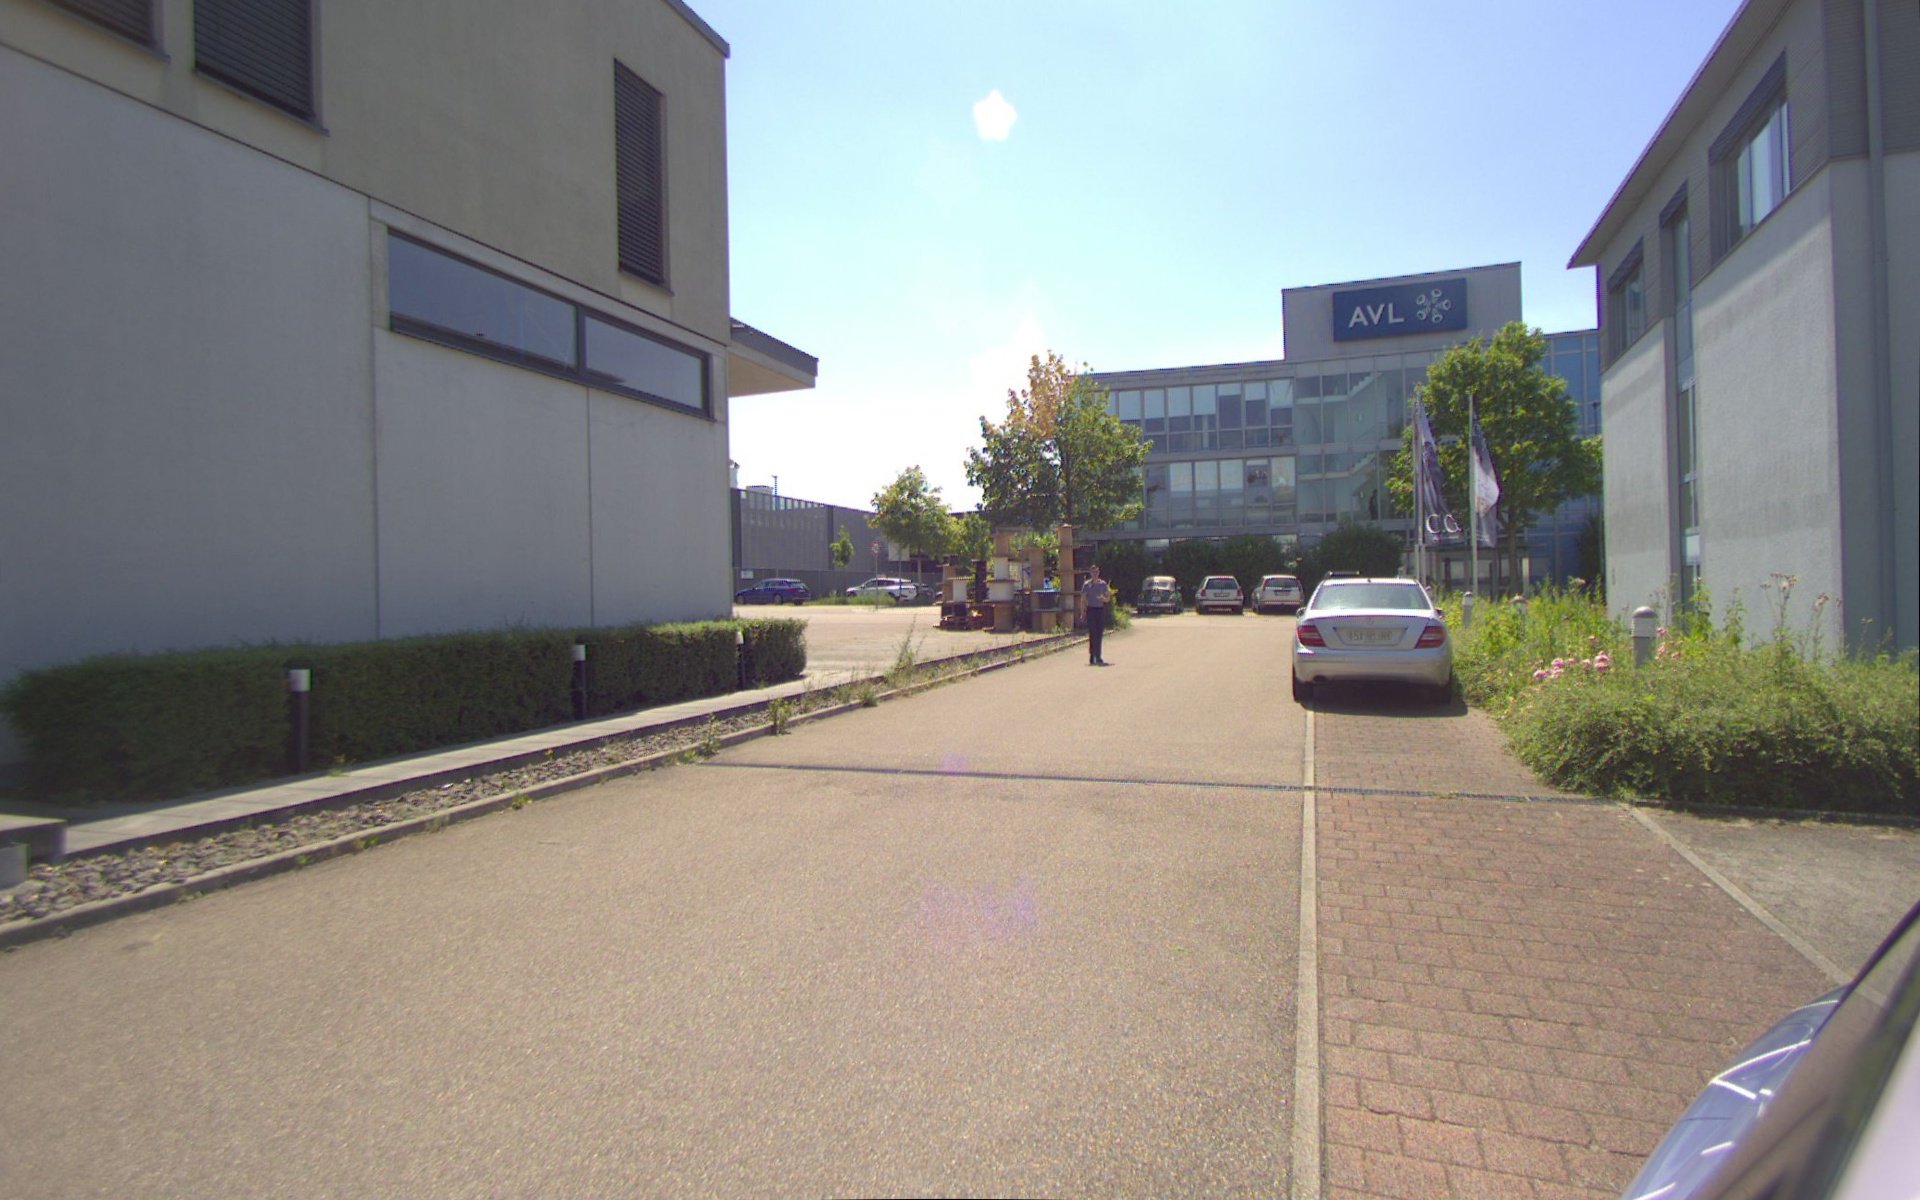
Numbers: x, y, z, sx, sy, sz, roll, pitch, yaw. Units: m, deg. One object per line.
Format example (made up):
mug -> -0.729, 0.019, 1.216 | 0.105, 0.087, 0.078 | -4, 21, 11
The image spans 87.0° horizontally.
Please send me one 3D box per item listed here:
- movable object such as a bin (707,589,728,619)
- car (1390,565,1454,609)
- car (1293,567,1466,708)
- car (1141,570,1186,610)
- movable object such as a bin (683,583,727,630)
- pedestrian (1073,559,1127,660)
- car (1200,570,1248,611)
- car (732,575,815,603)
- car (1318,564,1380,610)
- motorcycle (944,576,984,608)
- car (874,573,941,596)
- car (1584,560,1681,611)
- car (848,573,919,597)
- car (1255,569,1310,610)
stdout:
movable object such as a bin -> -7.860, 0.125, 32.831 | 0.574, 0.929, 0.548 | -1, 2, -5
car -> 17.085, -0.518, 37.561 | 1.709, 1.503, 4.371 | -1, 1, 19
car -> 5.255, 0.332, 12.803 | 1.714, 1.475, 4.118 | 0, 2, 22
car -> 8.099, -0.436, 40.170 | 1.501, 1.463, 3.404 | 0, 2, 15
movable object such as a bin -> -7.090, 0.174, 28.168 | 0.868, 1.265, 0.794 | 0, 2, 28
pedestrian -> 2.559, 0.155, 18.565 | 0.793, 1.790, 0.769 | -1, 2, -3
car -> 10.285, -0.416, 39.581 | 1.618, 1.470, 3.589 | 0, 2, 12
car -> -10.282, -0.591, 55.695 | 4.413, 1.427, 1.838 | 0, 1, 33
car -> 14.685, -0.542, 38.372 | 1.914, 1.622, 3.839 | 0, 2, 17
motorcycle -> 0.192, -0.348, 42.241 | 0.862, 1.275, 2.821 | 0, 2, 17
car -> -3.488, -1.014, 66.476 | 4.262, 1.494, 1.758 | 0, 1, 36
car -> 23.380, -0.526, 35.351 | 1.809, 1.657, 4.147 | 0, 1, 19
car -> -4.829, -0.934, 63.798 | 4.387, 1.494, 1.758 | 0, 1, 36
car -> 12.512, -0.443, 39.443 | 1.706, 1.470, 3.589 | 0, 2, 12
